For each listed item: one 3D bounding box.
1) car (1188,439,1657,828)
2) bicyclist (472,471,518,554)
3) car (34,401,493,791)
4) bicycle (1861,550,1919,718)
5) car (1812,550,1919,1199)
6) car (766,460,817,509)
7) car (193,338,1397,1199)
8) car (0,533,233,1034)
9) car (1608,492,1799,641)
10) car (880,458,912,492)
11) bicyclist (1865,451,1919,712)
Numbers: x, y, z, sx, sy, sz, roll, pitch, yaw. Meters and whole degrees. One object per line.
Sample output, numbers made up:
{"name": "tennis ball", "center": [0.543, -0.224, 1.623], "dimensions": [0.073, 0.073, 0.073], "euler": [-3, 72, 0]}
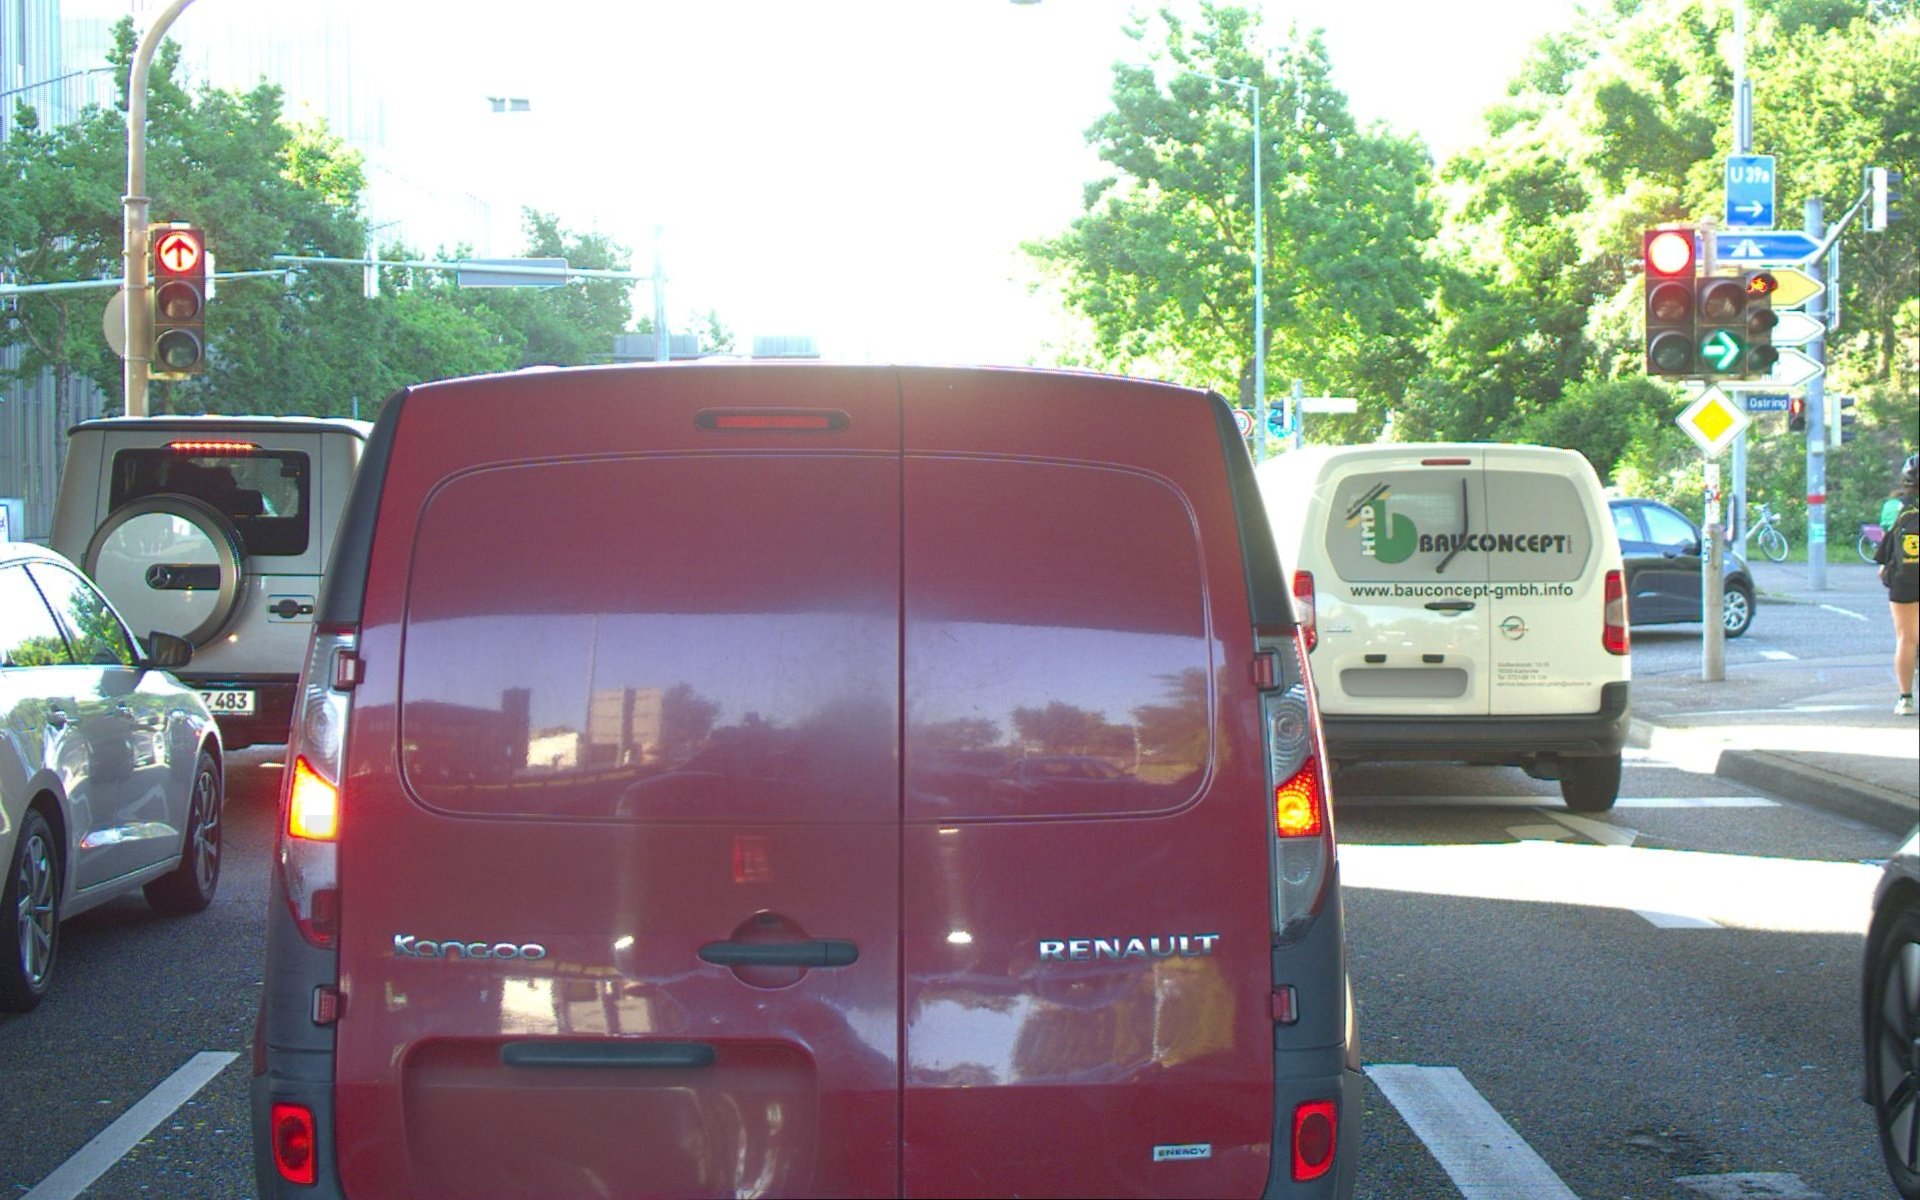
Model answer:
{"name": "car", "center": [2.340, 0.088, 18.492], "dimensions": [1.813, 1.827, 4.301], "euler": [1, 2, -1]}
{"name": "bicyclist", "center": [-8.709, -1.635, 64.408], "dimensions": [0.755, 1.537, 0.697], "euler": [0, 1, 0]}
{"name": "car", "center": [-3.692, -0.057, 18.859], "dimensions": [1.813, 1.897, 3.814], "euler": [1, 1, -1]}
{"name": "bicycle", "center": [6.091, 0.206, 21.641], "dimensions": [0.677, 1.020, 1.528], "euler": [1, 1, 10]}
{"name": "car", "center": [2.951, 0.669, 5.670], "dimensions": [1.745, 1.451, 4.665], "euler": [1, 1, -2]}
{"name": "car", "center": [-7.259, -4.967, 148.467], "dimensions": [1.993, 2.007, 4.000], "euler": [1, 1, -1]}
{"name": "car", "center": [-0.264, 0.473, 6.959], "dimensions": [1.719, 1.758, 4.000], "euler": [1, 1, -1]}
{"name": "car", "center": [-3.618, 0.483, 11.457], "dimensions": [1.692, 1.405, 3.814], "euler": [1, 1, -2]}
{"name": "car", "center": [7.839, -0.386, 36.332], "dimensions": [1.838, 1.459, 3.886], "euler": [1, 2, 12]}
{"name": "car", "center": [-4.102, -7.998, 220.417], "dimensions": [1.993, 2.007, 4.000], "euler": [1, 1, -1]}
{"name": "bicyclist", "center": [6.113, -0.113, 21.730], "dimensions": [0.677, 1.623, 0.644], "euler": [1, 0, 10]}
